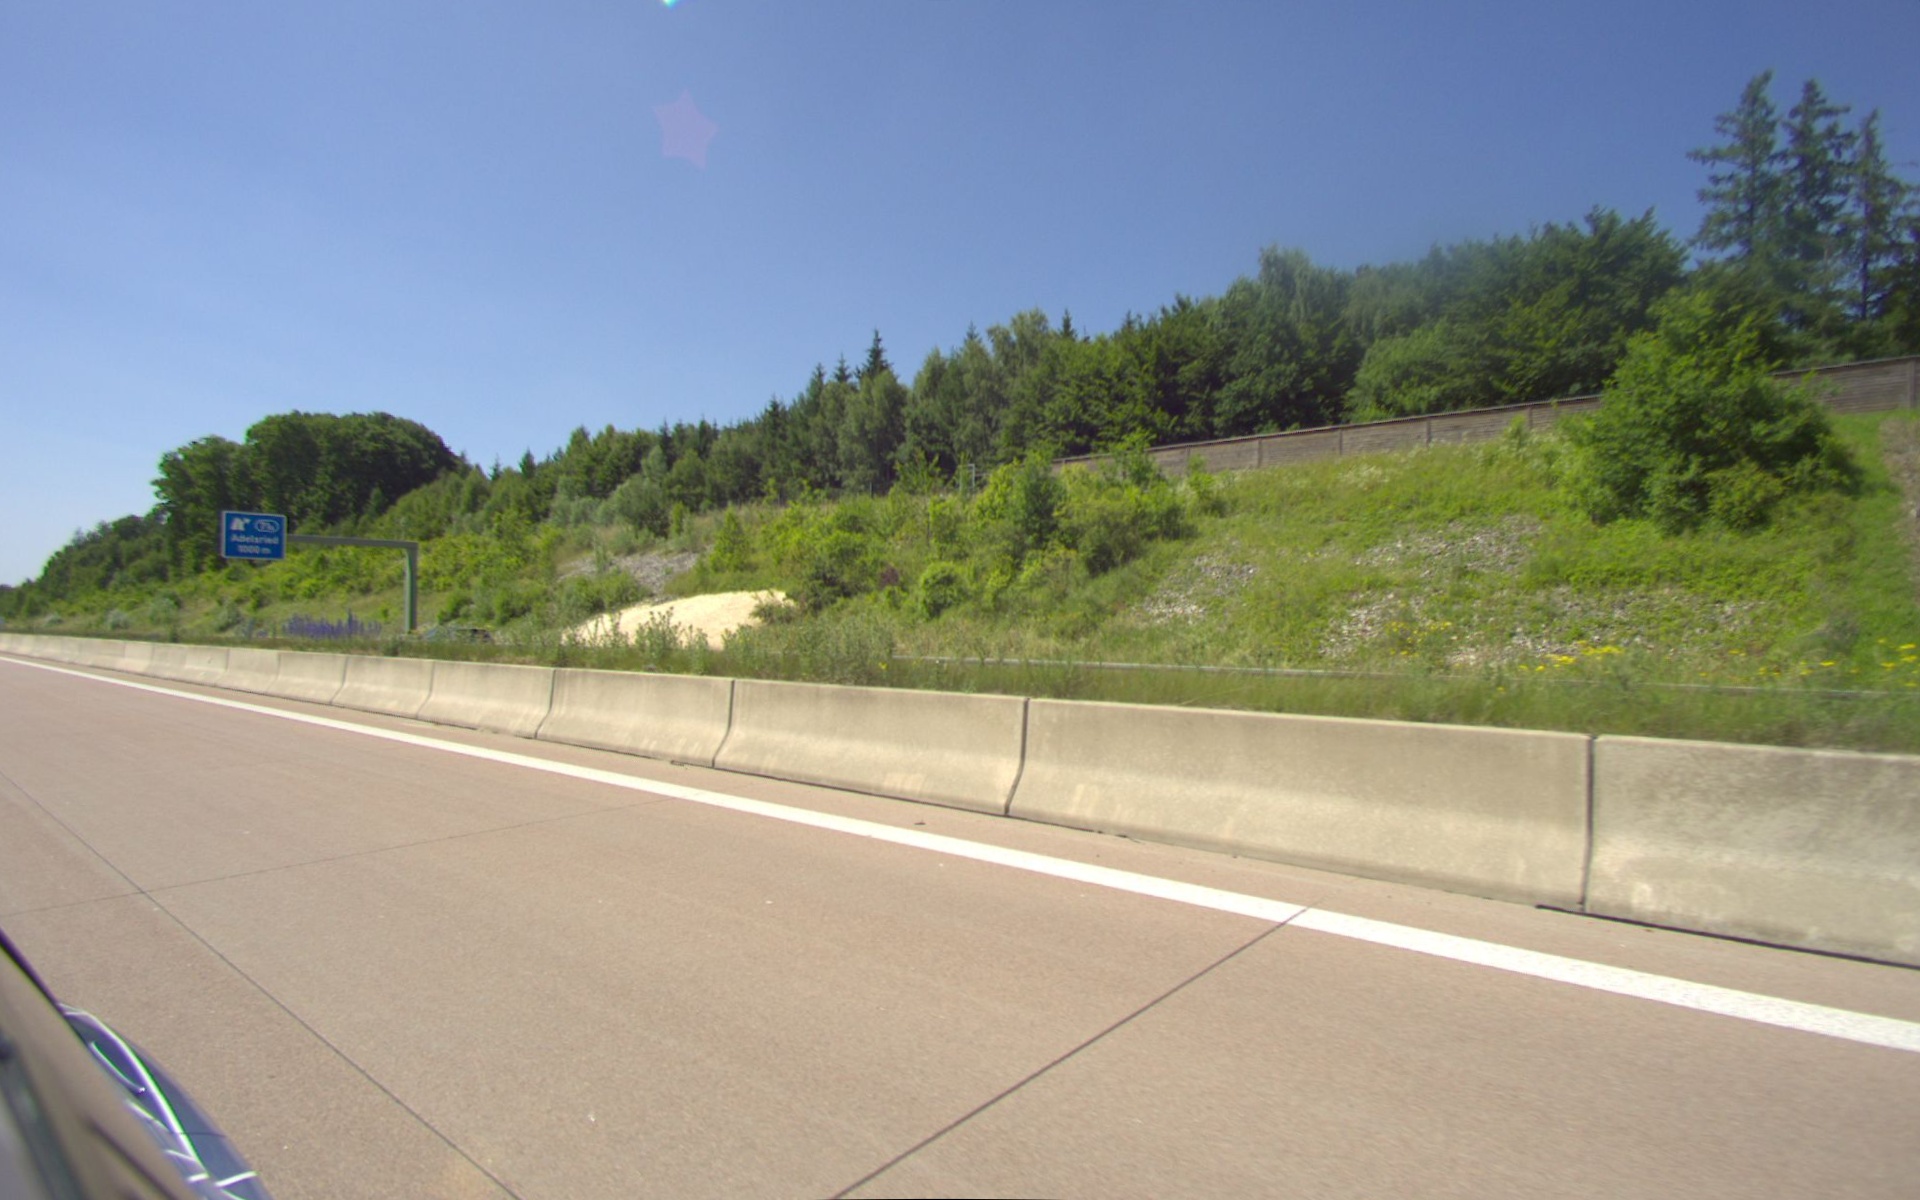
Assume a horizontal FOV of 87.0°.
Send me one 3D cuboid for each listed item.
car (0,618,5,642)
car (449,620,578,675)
[{"bbox_3d":[-123.543,3.879,128.628,7.498,2.992,2.384,-3,-2,41],"label":"car"},{"bbox_3d":[-14.366,1.516,32.435,4.975,1.606,1.871,-3,-2,41],"label":"car"}]
